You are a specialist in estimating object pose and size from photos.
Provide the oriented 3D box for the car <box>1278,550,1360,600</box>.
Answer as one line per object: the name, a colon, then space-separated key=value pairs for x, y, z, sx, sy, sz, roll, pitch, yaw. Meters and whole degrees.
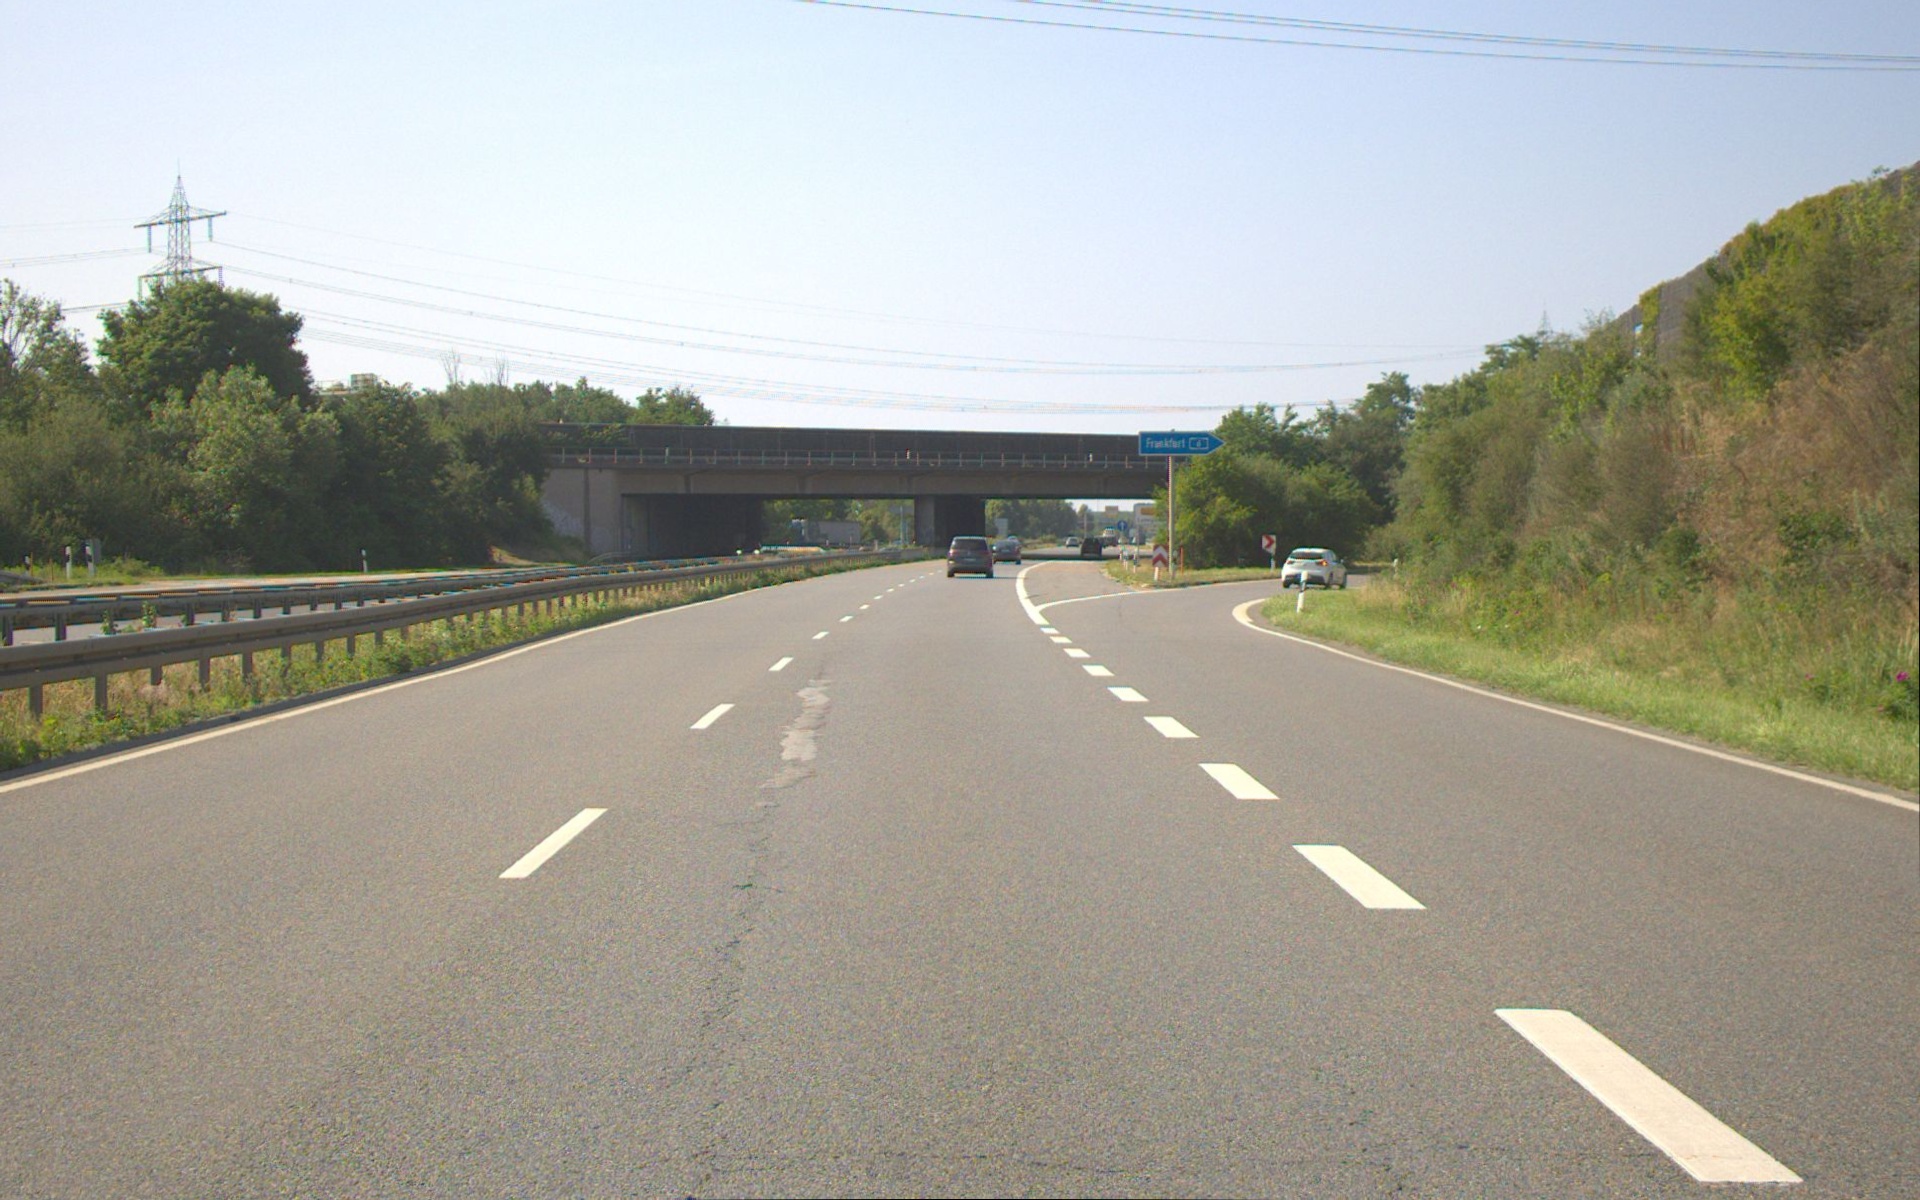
car: x=12.870 y=-0.894 z=123.200 sx=1.798 sy=1.659 sz=3.995 roll=4 pitch=2 yaw=22

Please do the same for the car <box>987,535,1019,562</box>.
car: x=2.671 y=-3.156 z=210.762 sx=1.850 sy=1.639 sz=4.000 roll=1 pitch=1 yaw=2

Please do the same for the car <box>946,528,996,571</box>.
car: x=0.443 y=-1.996 z=136.653 sx=1.850 sy=1.639 sz=4.000 roll=1 pitch=1 yaw=2
